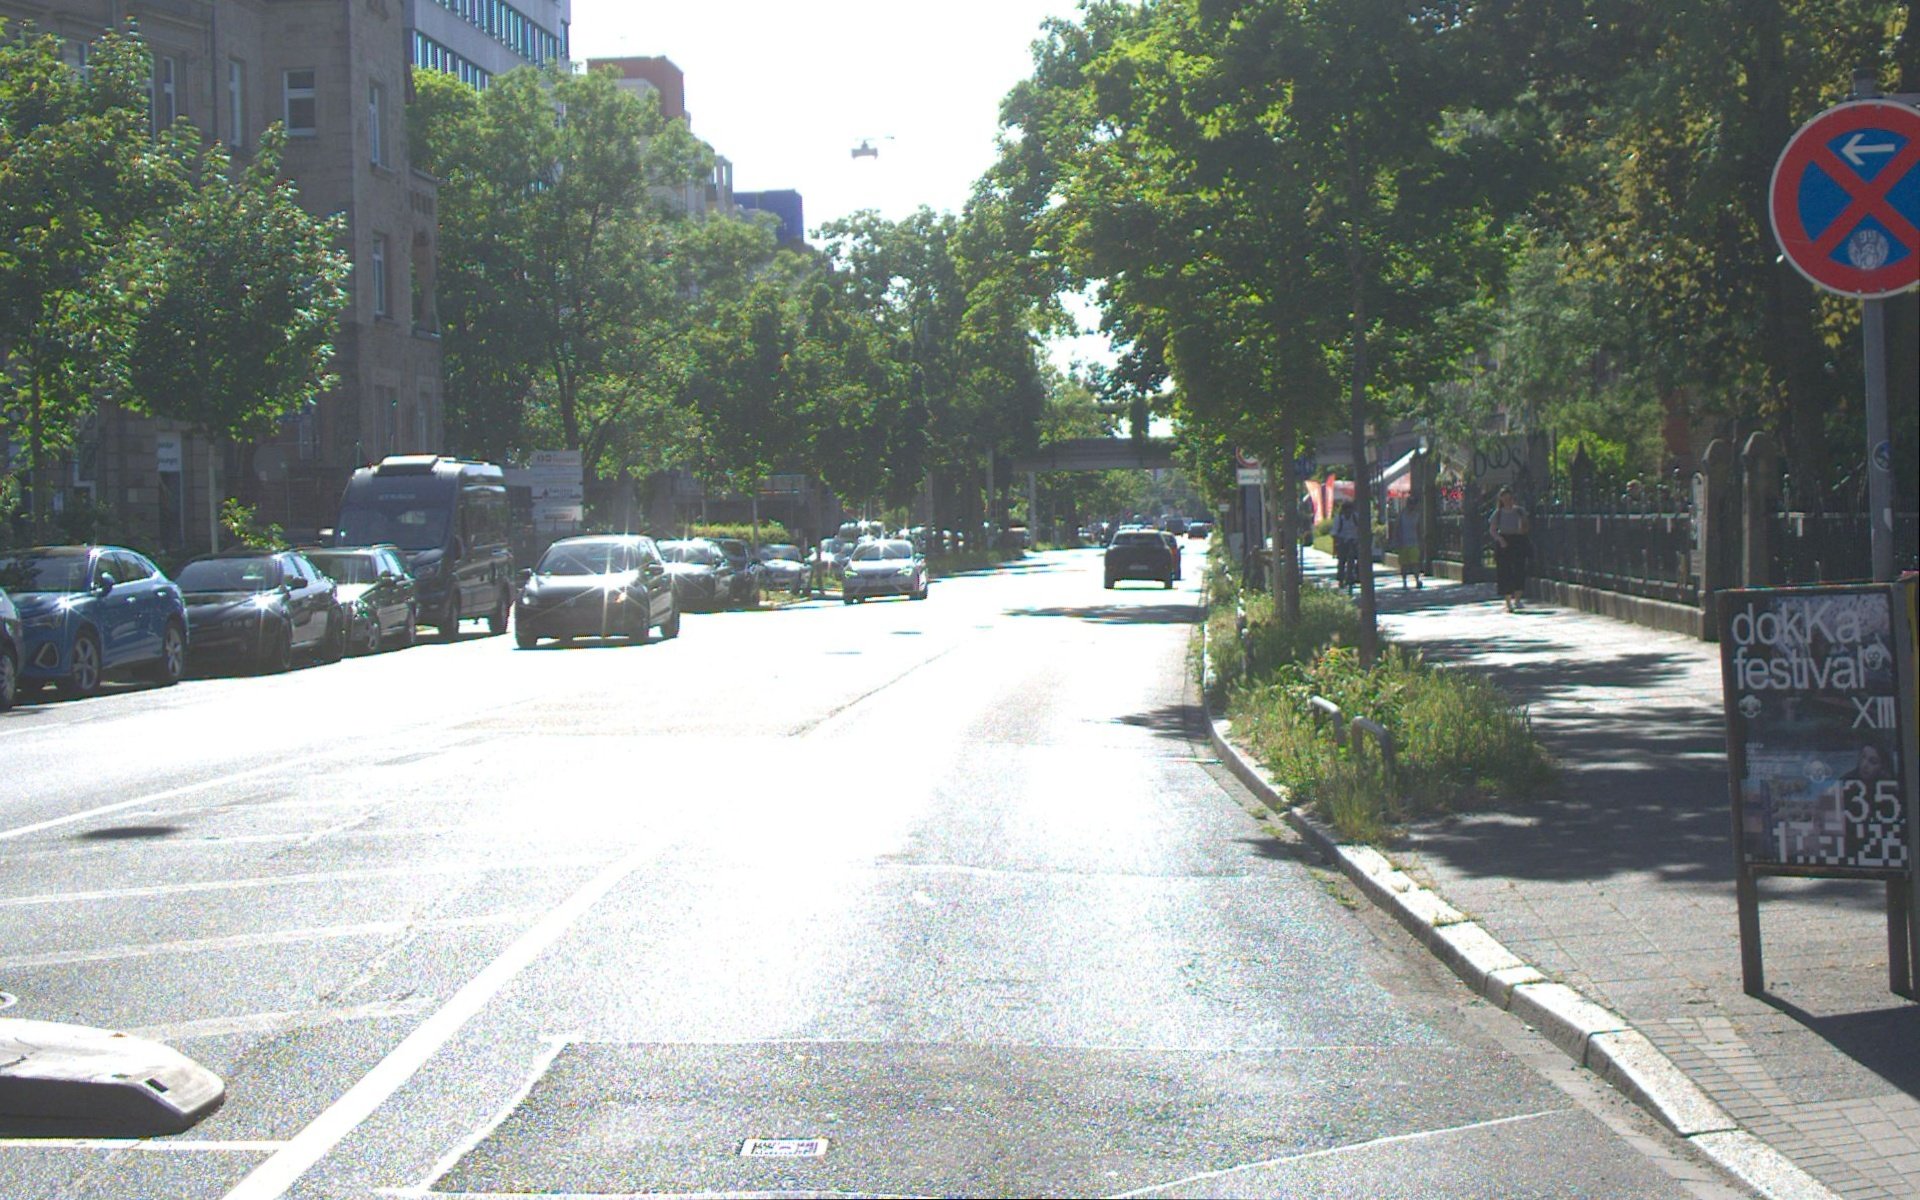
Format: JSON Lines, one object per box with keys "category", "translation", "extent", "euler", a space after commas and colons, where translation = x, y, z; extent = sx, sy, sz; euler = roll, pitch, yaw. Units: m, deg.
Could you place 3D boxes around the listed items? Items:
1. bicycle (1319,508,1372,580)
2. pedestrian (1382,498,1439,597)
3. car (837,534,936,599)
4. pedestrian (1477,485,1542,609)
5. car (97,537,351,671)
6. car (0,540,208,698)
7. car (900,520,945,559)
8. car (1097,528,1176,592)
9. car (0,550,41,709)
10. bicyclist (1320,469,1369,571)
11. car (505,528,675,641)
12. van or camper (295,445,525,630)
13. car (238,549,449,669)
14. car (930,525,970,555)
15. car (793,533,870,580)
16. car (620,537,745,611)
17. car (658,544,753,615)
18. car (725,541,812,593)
{"category": "bicycle", "translation": [6.594, -0.972, 58.821], "extent": [0.616, 1.172, 1.919], "euler": [-4, 1, 0]}
{"category": "pedestrian", "translation": [8.402, -0.987, 64.065], "extent": [0.748, 1.781, 0.810], "euler": [-4, 1, 22]}
{"category": "car", "translation": [-1.709, -0.808, 80.985], "extent": [1.918, 1.414, 4.225], "euler": [-2, 1, 4]}
{"category": "pedestrian", "translation": [7.544, -0.725, 47.218], "extent": [0.695, 1.652, 0.820], "euler": [-4, 0, 3]}
{"category": "car", "translation": [-8.799, 0.007, 41.449], "extent": [1.780, 1.408, 4.405], "euler": [-3, 1, 4]}
{"category": "car", "translation": [-9.595, 0.159, 36.634], "extent": [1.780, 1.532, 4.558], "euler": [-1, 1, 5]}
{"category": "car", "translation": [-1.778, -2.889, 163.090], "extent": [1.856, 1.843, 4.561], "euler": [0, 1, 3]}
{"category": "car", "translation": [4.602, -1.074, 89.838], "extent": [1.985, 1.595, 4.140], "euler": [0, 1, 3]}
{"category": "car", "translation": [-9.736, 0.312, 31.076], "extent": [1.590, 1.477, 4.272], "euler": [-2, 1, 1]}
{"category": "bicyclist", "translation": [6.575, -1.374, 58.787], "extent": [0.620, 1.684, 0.820], "euler": [-4, 1, 0]}
{"category": "car", "translation": [-5.057, -0.244, 47.474], "extent": [1.592, 1.445, 4.133], "euler": [-1, 1, 4]}
{"category": "van or camper", "translation": [-8.607, -1.011, 54.427], "extent": [2.216, 2.730, 6.088], "euler": [-1, 1, 4]}
{"category": "car", "translation": [-8.400, 0.083, 47.247], "extent": [1.694, 1.451, 4.663], "euler": [-3, 1, 4]}
{"category": "car", "translation": [-0.510, -3.154, 180.651], "extent": [1.856, 1.518, 4.318], "euler": [0, 1, 3]}
{"category": "car", "translation": [-3.845, -1.320, 103.283], "extent": [1.688, 1.378, 4.190], "euler": [0, 1, 7]}
{"category": "car", "translation": [-5.903, -0.577, 73.728], "extent": [1.856, 1.422, 4.719], "euler": [3, 1, 5]}
{"category": "car", "translation": [-5.839, -0.498, 79.254], "extent": [1.855, 1.489, 4.706], "euler": [2, 1, -1]}
{"category": "car", "translation": [-4.840, -0.858, 87.181], "extent": [1.678, 1.251, 4.014], "euler": [0, 1, 5]}
